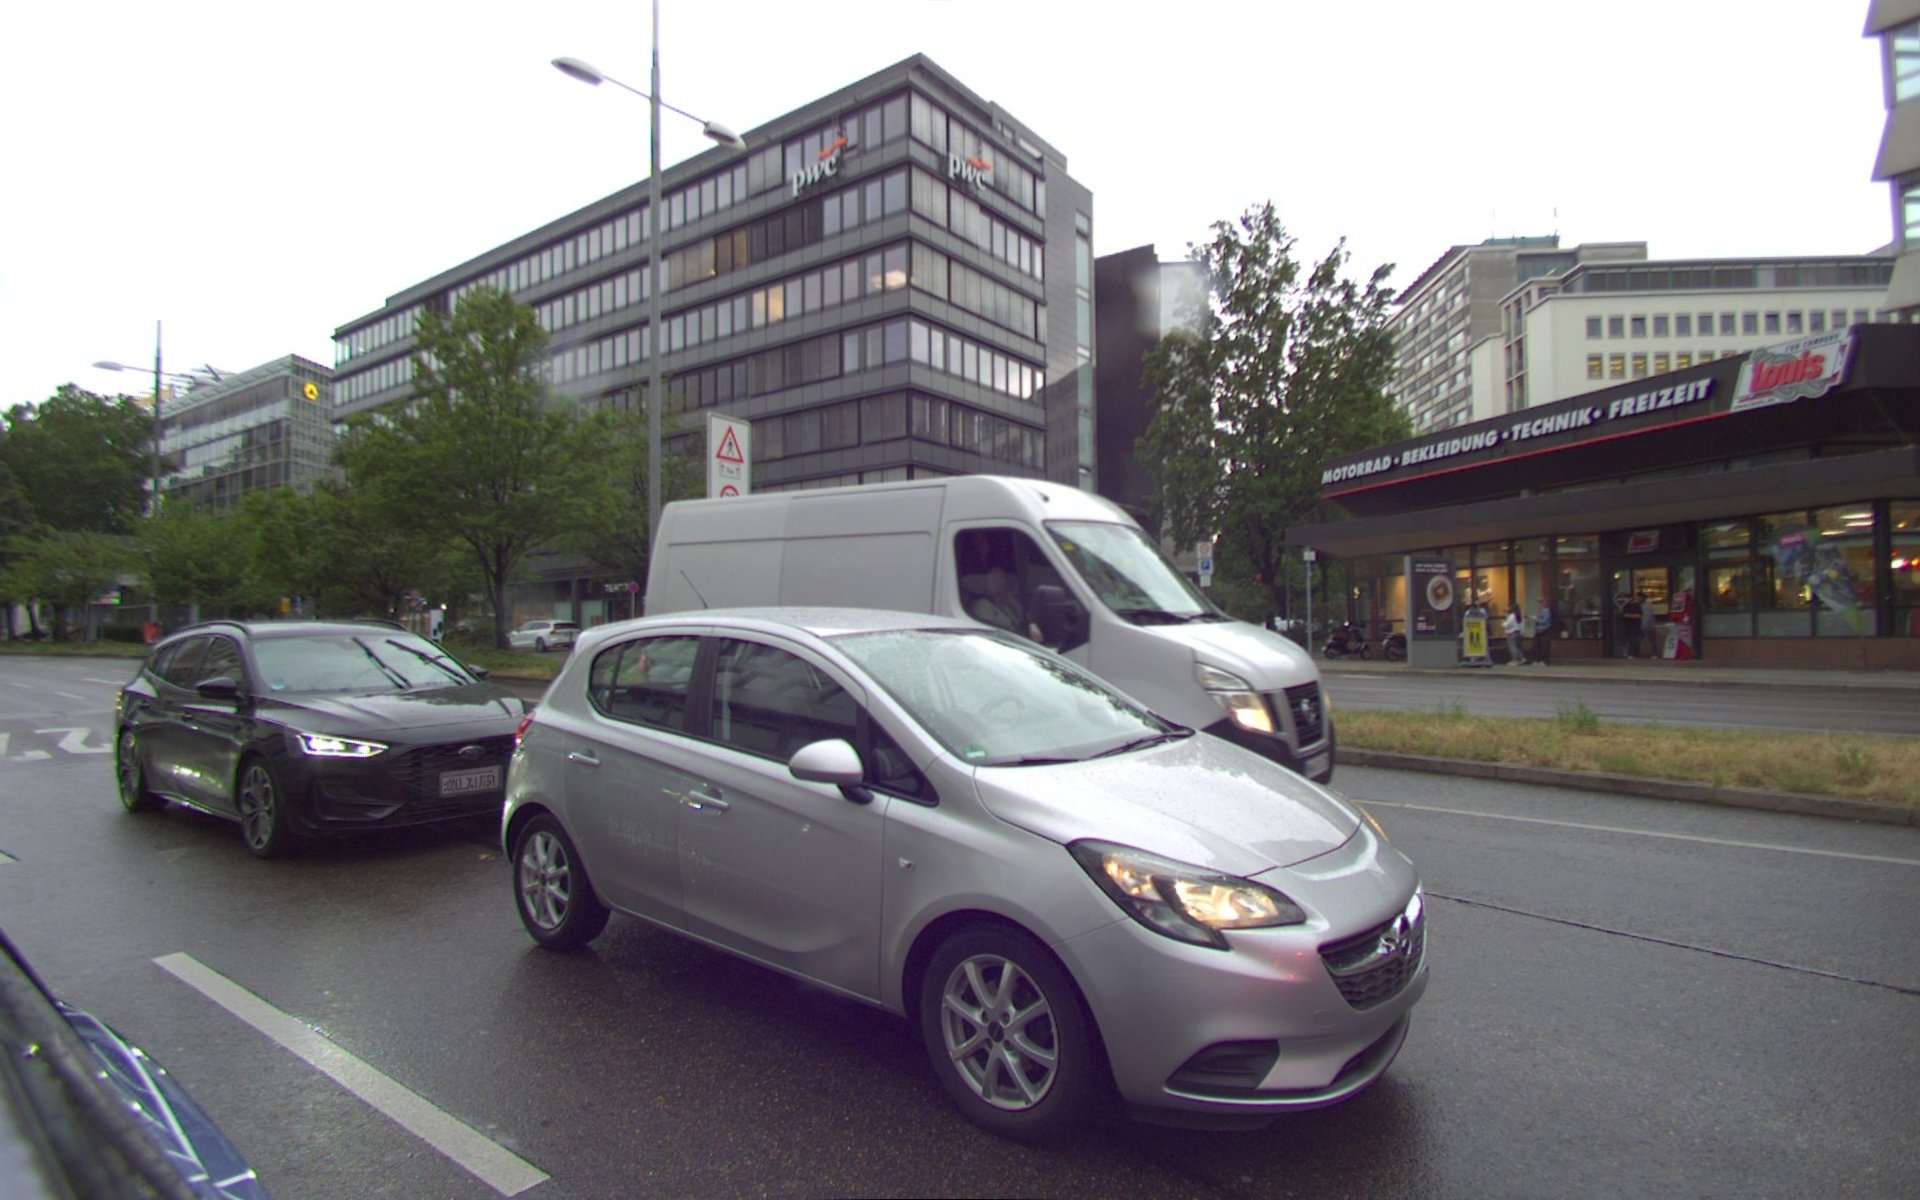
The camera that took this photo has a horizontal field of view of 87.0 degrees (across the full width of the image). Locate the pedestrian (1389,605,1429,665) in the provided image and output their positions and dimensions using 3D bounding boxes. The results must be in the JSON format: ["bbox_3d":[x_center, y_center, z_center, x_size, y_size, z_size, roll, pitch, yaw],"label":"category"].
[{"bbox_3d":[12.532,0.967,28.255,0.721,1.661,0.702,0,-1,-28],"label":"pedestrian"}]

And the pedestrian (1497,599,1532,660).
[{"bbox_3d":[14.544,0.774,26.548,0.532,1.582,0.560,0,-1,-29],"label":"pedestrian"}]

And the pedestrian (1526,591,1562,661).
[{"bbox_3d":[15.021,0.667,26.030,0.532,1.757,0.560,0,-1,-29],"label":"pedestrian"}]

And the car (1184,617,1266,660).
[{"bbox_3d":[10.676,1.516,40.631,1.847,1.596,3.716,-2,-1,37],"label":"car"}]

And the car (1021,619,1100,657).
[{"bbox_3d":[4.549,1.672,45.464,1.847,1.596,3.716,-2,-1,37],"label":"car"}]

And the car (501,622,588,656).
[{"bbox_3d":[-19.401,1.801,47.243,3.992,1.518,1.975,-2,-1,36],"label":"car"}]

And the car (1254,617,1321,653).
[{"bbox_3d":[15.574,1.638,48.031,1.847,1.596,3.716,-2,-1,37],"label":"car"}]

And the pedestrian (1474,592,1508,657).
[{"bbox_3d":[14.516,0.673,27.664,0.605,1.757,0.560,0,-1,-29],"label":"pedestrian"}]

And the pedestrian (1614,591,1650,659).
[{"bbox_3d":[17.207,0.638,25.912,0.516,1.731,0.500,-1,-1,-16],"label":"pedestrian"}]

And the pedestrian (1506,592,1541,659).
[{"bbox_3d":[15.107,0.686,27.134,0.532,1.757,0.560,0,-1,-29],"label":"pedestrian"}]

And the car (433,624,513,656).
[{"bbox_3d":[-24.589,1.985,51.094,4.100,1.518,1.975,-2,-1,36],"label":"car"}]

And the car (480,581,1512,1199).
[{"bbox_3d":[-0.177,0.725,3.985,3.872,1.446,1.631,-2,-1,40],"label":"car"}]

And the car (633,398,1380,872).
[{"bbox_3d":[0.040,0.240,7.651,5.469,2.459,1.929,-2,-1,36],"label":"car"}]

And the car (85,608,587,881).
[{"bbox_3d":[-4.697,0.833,7.402,4.087,1.446,1.755,-2,-1,37],"label":"car"}]

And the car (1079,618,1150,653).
[{"bbox_3d":[7.583,1.728,49.460,1.847,1.596,3.716,-2,-1,37],"label":"car"}]

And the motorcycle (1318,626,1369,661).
[{"bbox_3d":[12.973,1.467,34.272,1.600,1.153,0.360,-1,-1,-8],"label":"motorcycle"}]

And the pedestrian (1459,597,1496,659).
[{"bbox_3d":[13.788,0.753,26.986,0.605,1.623,0.614,0,-1,-29],"label":"pedestrian"}]

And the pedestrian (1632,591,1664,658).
[{"bbox_3d":[17.935,0.628,26.387,0.501,1.731,0.447,-1,-1,-16],"label":"pedestrian"}]

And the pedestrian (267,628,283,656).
[{"bbox_3d":[-51.269,3.132,75.737,0.539,2.029,0.917,-2,-1,39],"label":"pedestrian"}]

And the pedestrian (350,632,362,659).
[{"bbox_3d":[-45.788,3.413,76.726,0.500,2.029,0.681,-2,-1,38],"label":"pedestrian"}]

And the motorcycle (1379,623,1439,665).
[{"bbox_3d":[13.842,1.354,31.218,1.646,1.242,0.360,-1,-1,2],"label":"motorcycle"}]

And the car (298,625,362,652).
[{"bbox_3d":[-37.934,2.309,60.906,3.992,1.518,1.975,-2,-1,36],"label":"car"}]
